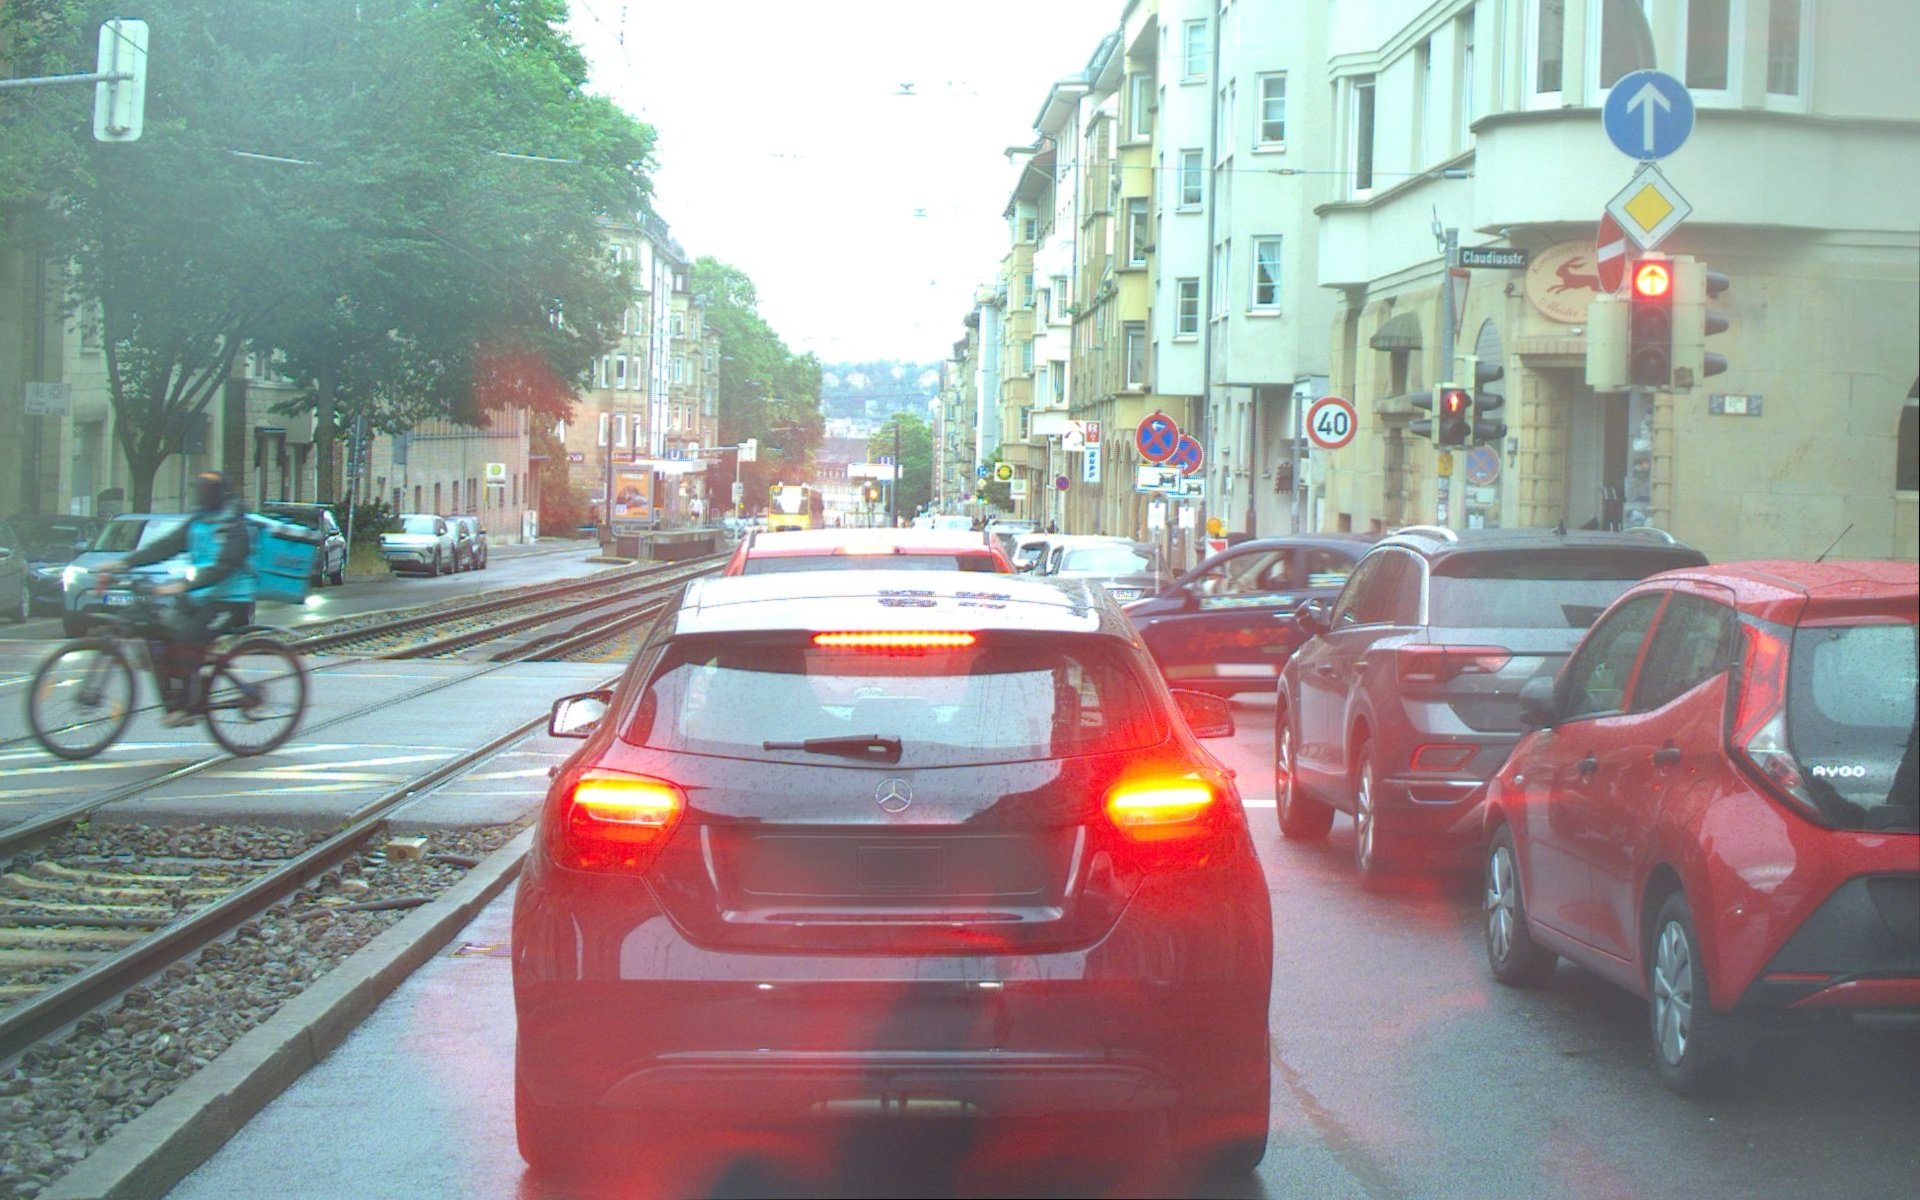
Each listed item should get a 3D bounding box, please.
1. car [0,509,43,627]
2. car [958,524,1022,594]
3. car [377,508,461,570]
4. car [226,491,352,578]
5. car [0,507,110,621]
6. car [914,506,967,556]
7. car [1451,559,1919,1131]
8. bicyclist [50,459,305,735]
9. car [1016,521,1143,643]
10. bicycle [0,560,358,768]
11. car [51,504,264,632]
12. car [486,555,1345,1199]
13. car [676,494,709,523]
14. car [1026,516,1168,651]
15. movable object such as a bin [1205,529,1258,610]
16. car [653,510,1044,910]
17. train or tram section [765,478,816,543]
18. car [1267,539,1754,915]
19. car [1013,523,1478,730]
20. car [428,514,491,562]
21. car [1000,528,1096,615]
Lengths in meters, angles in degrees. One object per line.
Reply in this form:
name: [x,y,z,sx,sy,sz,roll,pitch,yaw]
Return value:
car: [-13.485,-0.440,45.699,1.752,1.547,4.036,1,1,-4]
car: [0.630,-0.886,73.601,1.294,1.437,2.929,1,1,-1]
car: [-14.002,-1.567,89.171,1.589,1.575,3.918,1,1,-1]
car: [-13.962,-1.343,71.707,1.875,1.731,3.918,1,0,-1]
car: [-13.738,-0.530,50.729,1.716,1.605,3.919,1,1,-5]
car: [-0.778,-2.654,133.670,1.993,1.870,4.000,1,0,-1]
car: [2.652,0.624,10.533,1.642,1.443,3.299,1,1,-3]
bicyclist: [-4.674,-0.017,20.521,1.249,1.592,0.887,0,0,-31]
car: [1.610,-0.266,47.123,1.544,1.585,3.548,1,1,-1]
bicycle: [-4.709,0.366,20.501,2.030,1.182,0.826,0,0,-31]
car: [-10.460,-0.425,45.085,1.898,1.582,3.973,1,1,-1]
car: [-0.123,0.633,9.465,1.829,1.453,4.104,1,1,-1]
car: [-12.377,-4.222,159.150,1.377,1.245,3.298,1,1,-2]
car: [1.667,-0.228,42.648,1.544,1.585,3.548,1,1,-1]
movable object such as a bin: [4.709,-0.529,59.580,0.878,1.384,0.982,1,0,3]
car: [-0.477,0.429,15.852,1.565,1.604,3.814,1,0,-1]
train or tram section: [-10.613,-5.566,215.821,2.783,3.847,10.430,1,1,-1]
car: [2.388,0.479,15.772,1.544,1.481,3.830,1,1,-1]
car: [2.455,0.194,29.505,3.678,1.630,1.548,1,1,20]
car: [-14.346,-1.757,98.580,1.448,1.326,3.272,1,1,-2]
car: [1.550,-0.524,61.533,1.544,1.481,3.548,1,1,-1]
